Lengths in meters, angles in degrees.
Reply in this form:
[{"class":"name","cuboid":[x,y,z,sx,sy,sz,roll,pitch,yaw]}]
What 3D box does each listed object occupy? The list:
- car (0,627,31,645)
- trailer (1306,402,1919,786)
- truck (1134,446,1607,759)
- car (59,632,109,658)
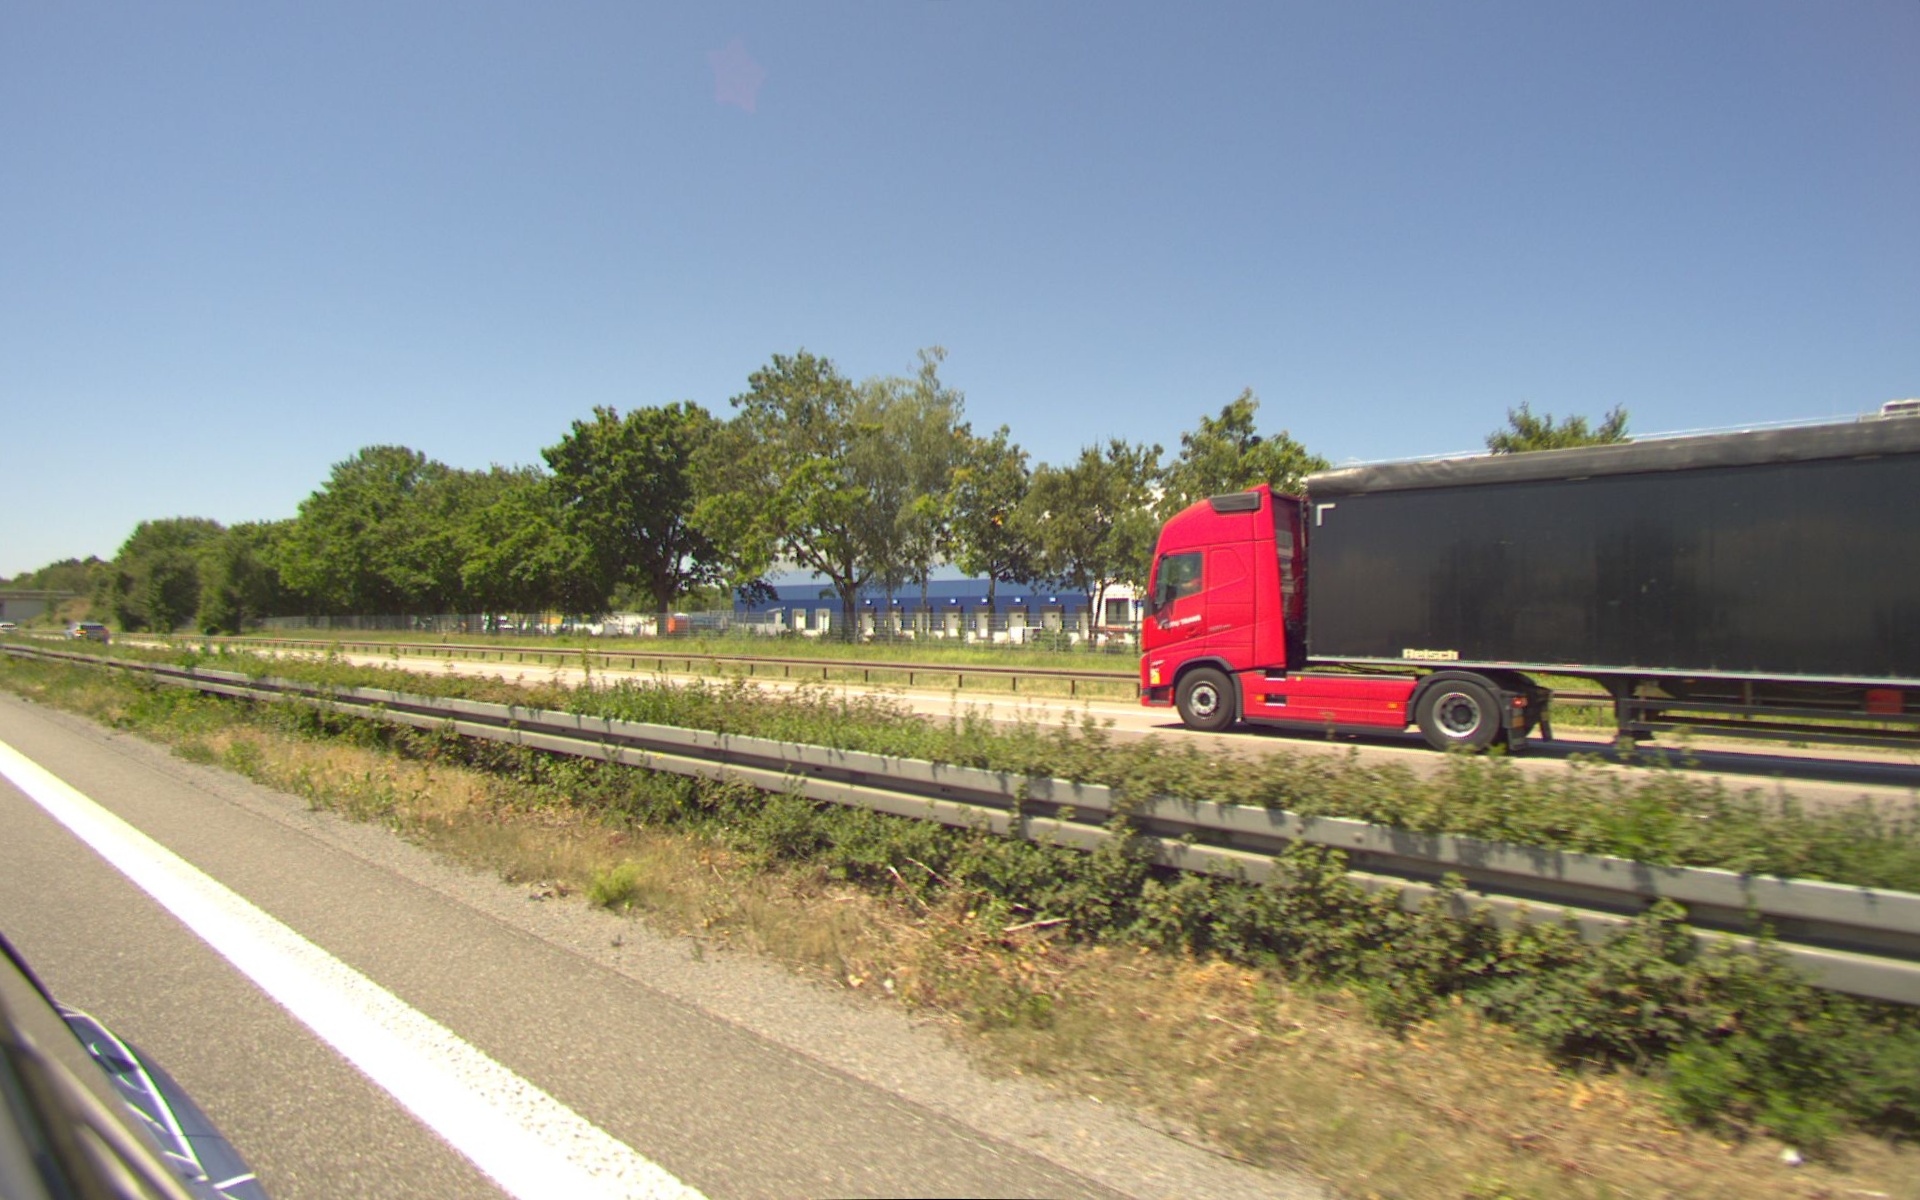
[{"class":"car","cuboid":[-92.020,3.494,98.258,4.855,1.652,1.973,-1,-5,40]},{"class":"trailer","cuboid":[11.558,0.004,11.607,14.197,4.042,3.411,-1,-4,41]},{"class":"truck","cuboid":[6.375,0.167,16.158,6.218,3.961,3.403,-1,-4,41]},{"class":"car","cuboid":[-58.731,3.003,67.798,4.812,1.695,1.826,-1,-4,41]}]
